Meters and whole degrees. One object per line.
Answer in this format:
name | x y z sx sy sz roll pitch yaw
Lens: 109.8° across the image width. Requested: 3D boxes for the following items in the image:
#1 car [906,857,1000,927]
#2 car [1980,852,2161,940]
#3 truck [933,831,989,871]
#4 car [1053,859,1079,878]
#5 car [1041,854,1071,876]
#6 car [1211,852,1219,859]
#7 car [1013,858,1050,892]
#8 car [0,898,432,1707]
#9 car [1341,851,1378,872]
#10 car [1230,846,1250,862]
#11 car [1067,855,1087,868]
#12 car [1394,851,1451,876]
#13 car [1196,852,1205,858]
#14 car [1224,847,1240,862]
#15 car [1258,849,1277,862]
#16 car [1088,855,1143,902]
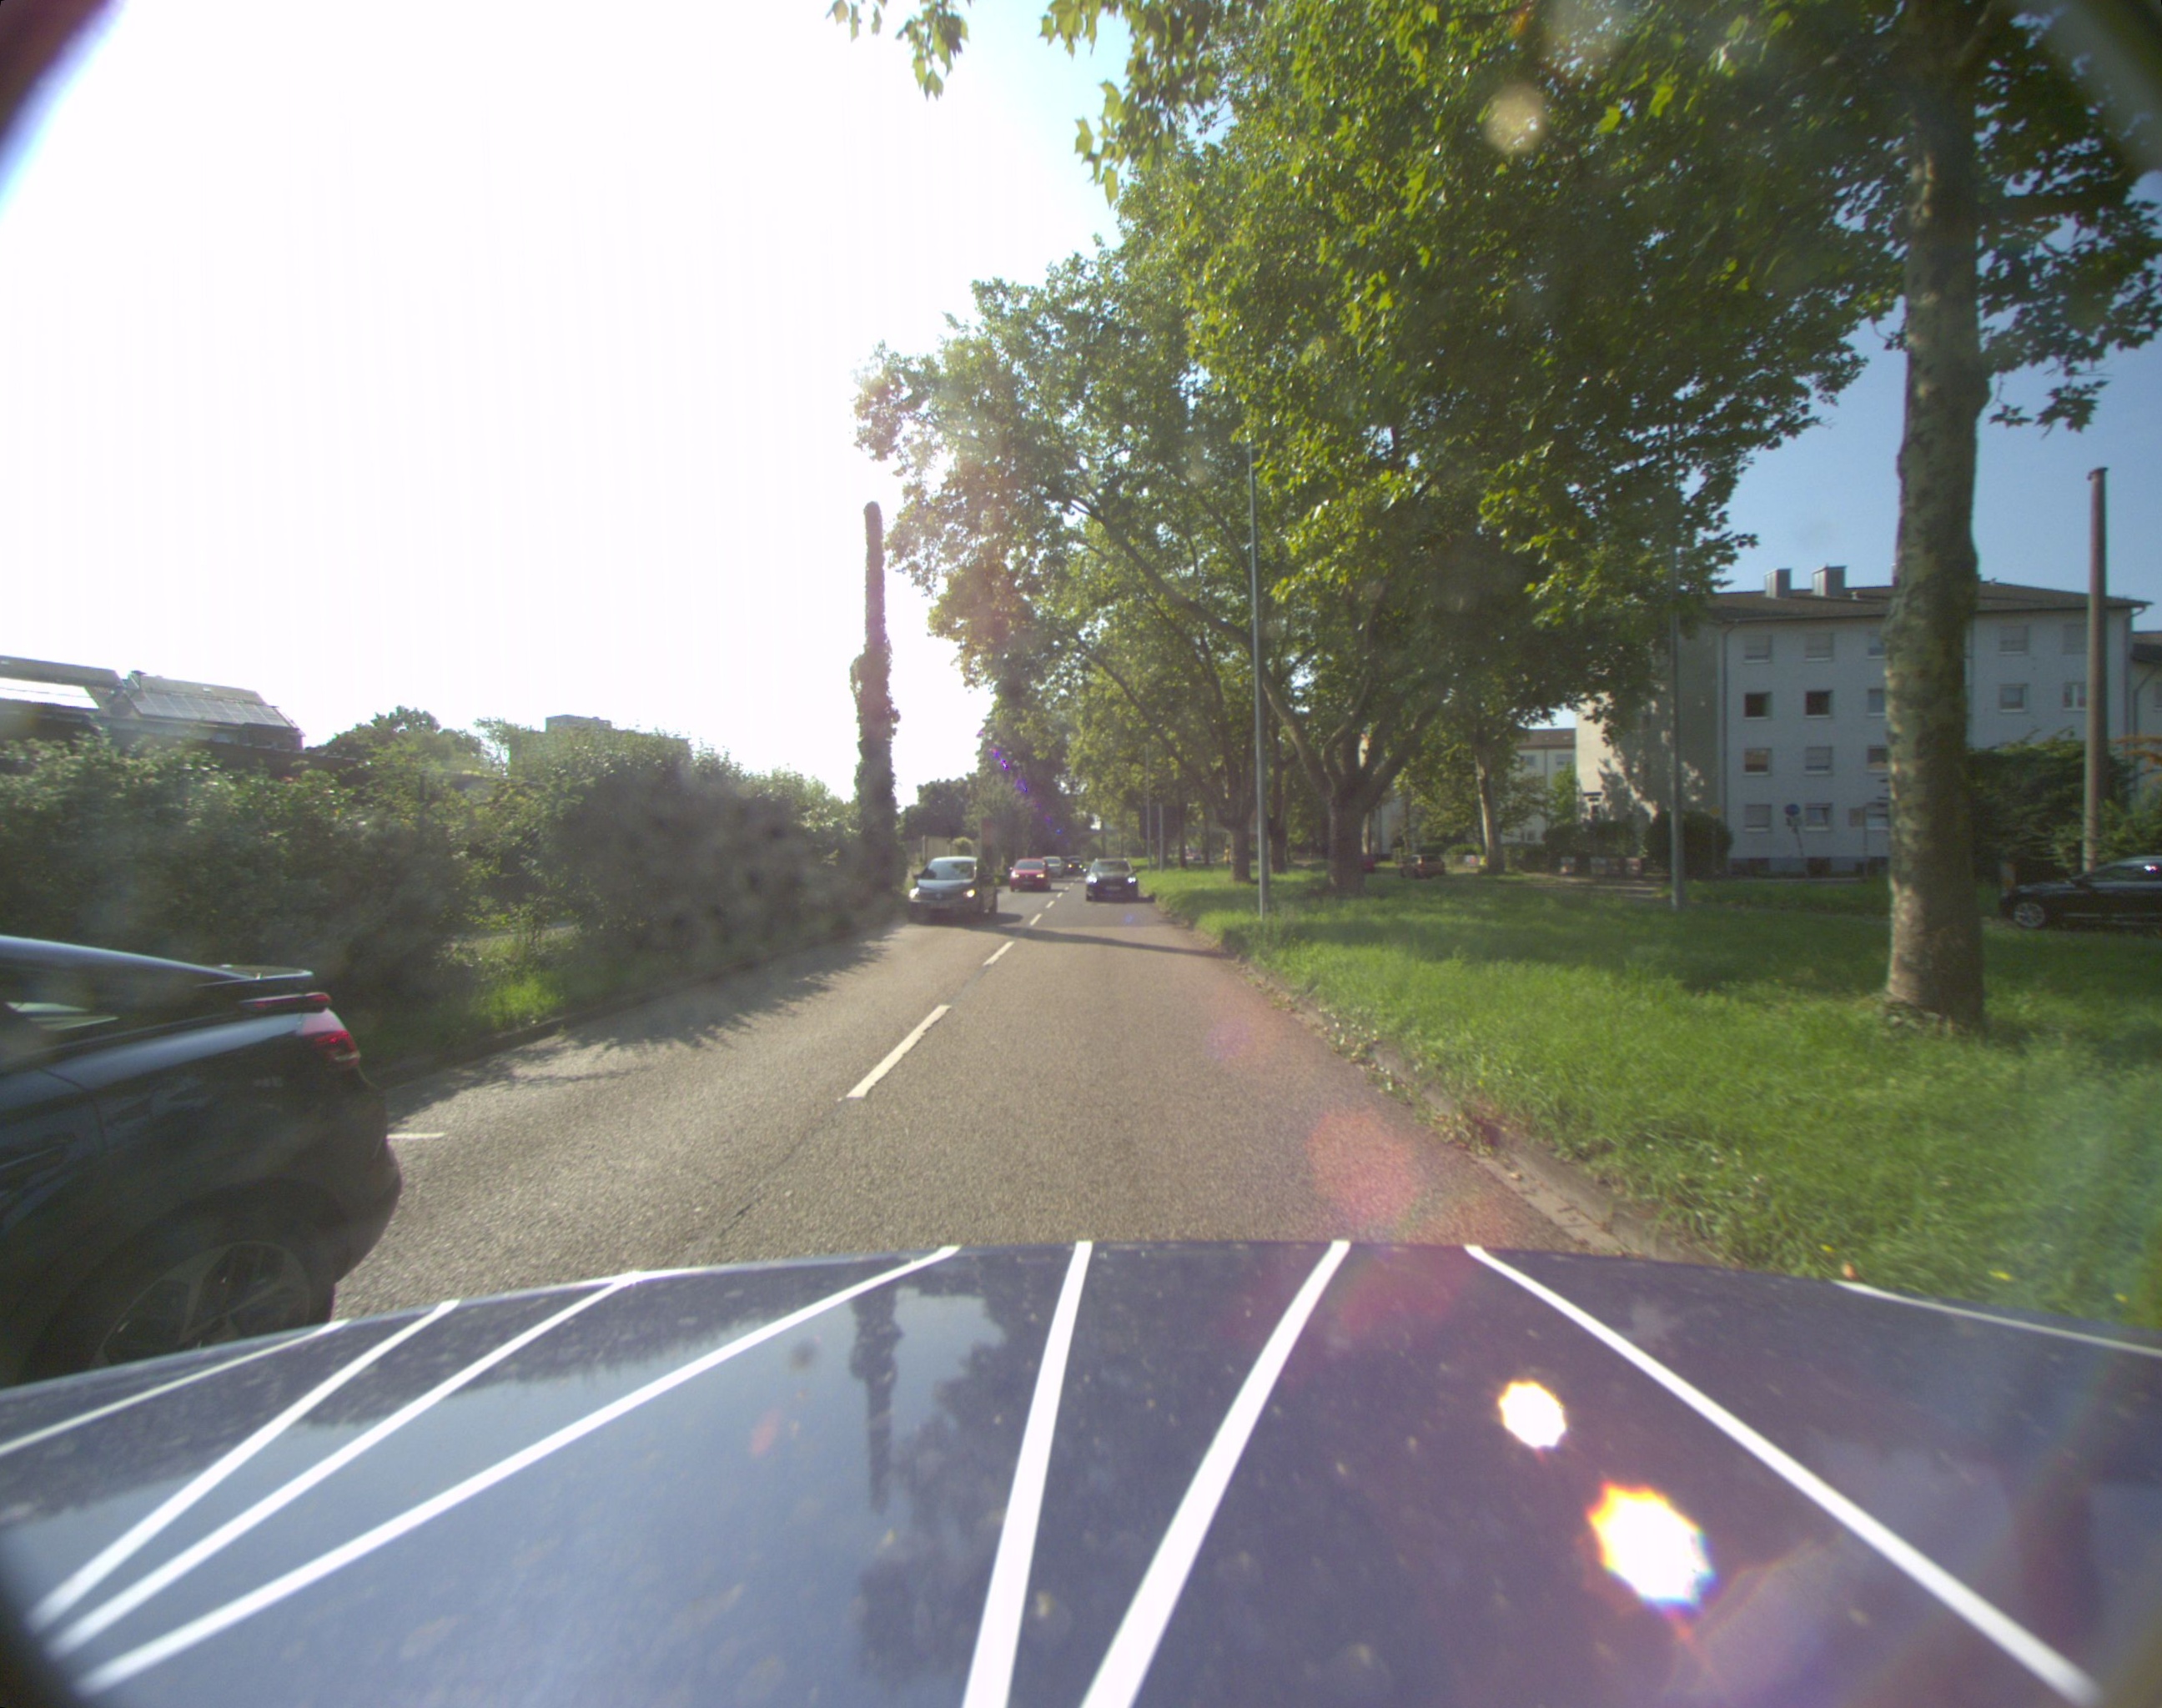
car | -3.147 0.888 19.394 1.649 1.547 3.898 0 1 1
car | 19.640 0.726 13.645 1.703 1.499 4.541 -1 0 2
truck | -7.145 -0.216 45.970 1.919 2.220 6.913 -1 1 3
car | -1.240 1.185 64.379 1.648 1.467 3.900 -1 1 7
car | -1.786 0.766 54.712 1.648 1.467 3.900 -1 1 6
car | 33.191 0.374 188.172 1.648 1.471 3.900 -1 1 7
car | -2.212 0.909 34.881 1.579 1.390 3.470 0 1 -2
car | -3.033 0.966 0.413 1.649 1.579 4.254 0 1 1
car | 21.139 0.535 57.882 1.542 1.443 4.064 -1 1 3
car | 25.221 -0.041 120.408 2.212 2.416 6.267 -3 1 5
car | -0.370 0.792 82.654 1.648 1.378 3.900 -1 1 7
car | 20.678 0.551 46.169 1.806 1.421 4.065 -1 0 3
car | 31.462 0.205 200.039 1.806 1.710 4.721 0 0 3
car | 25.534 0.026 128.485 2.212 2.465 6.063 -1 1 7
car | 22.963 0.132 93.552 1.526 1.524 3.863 0 1 2
car | 1.183 0.828 27.534 1.862 1.572 3.612 0 0 1
